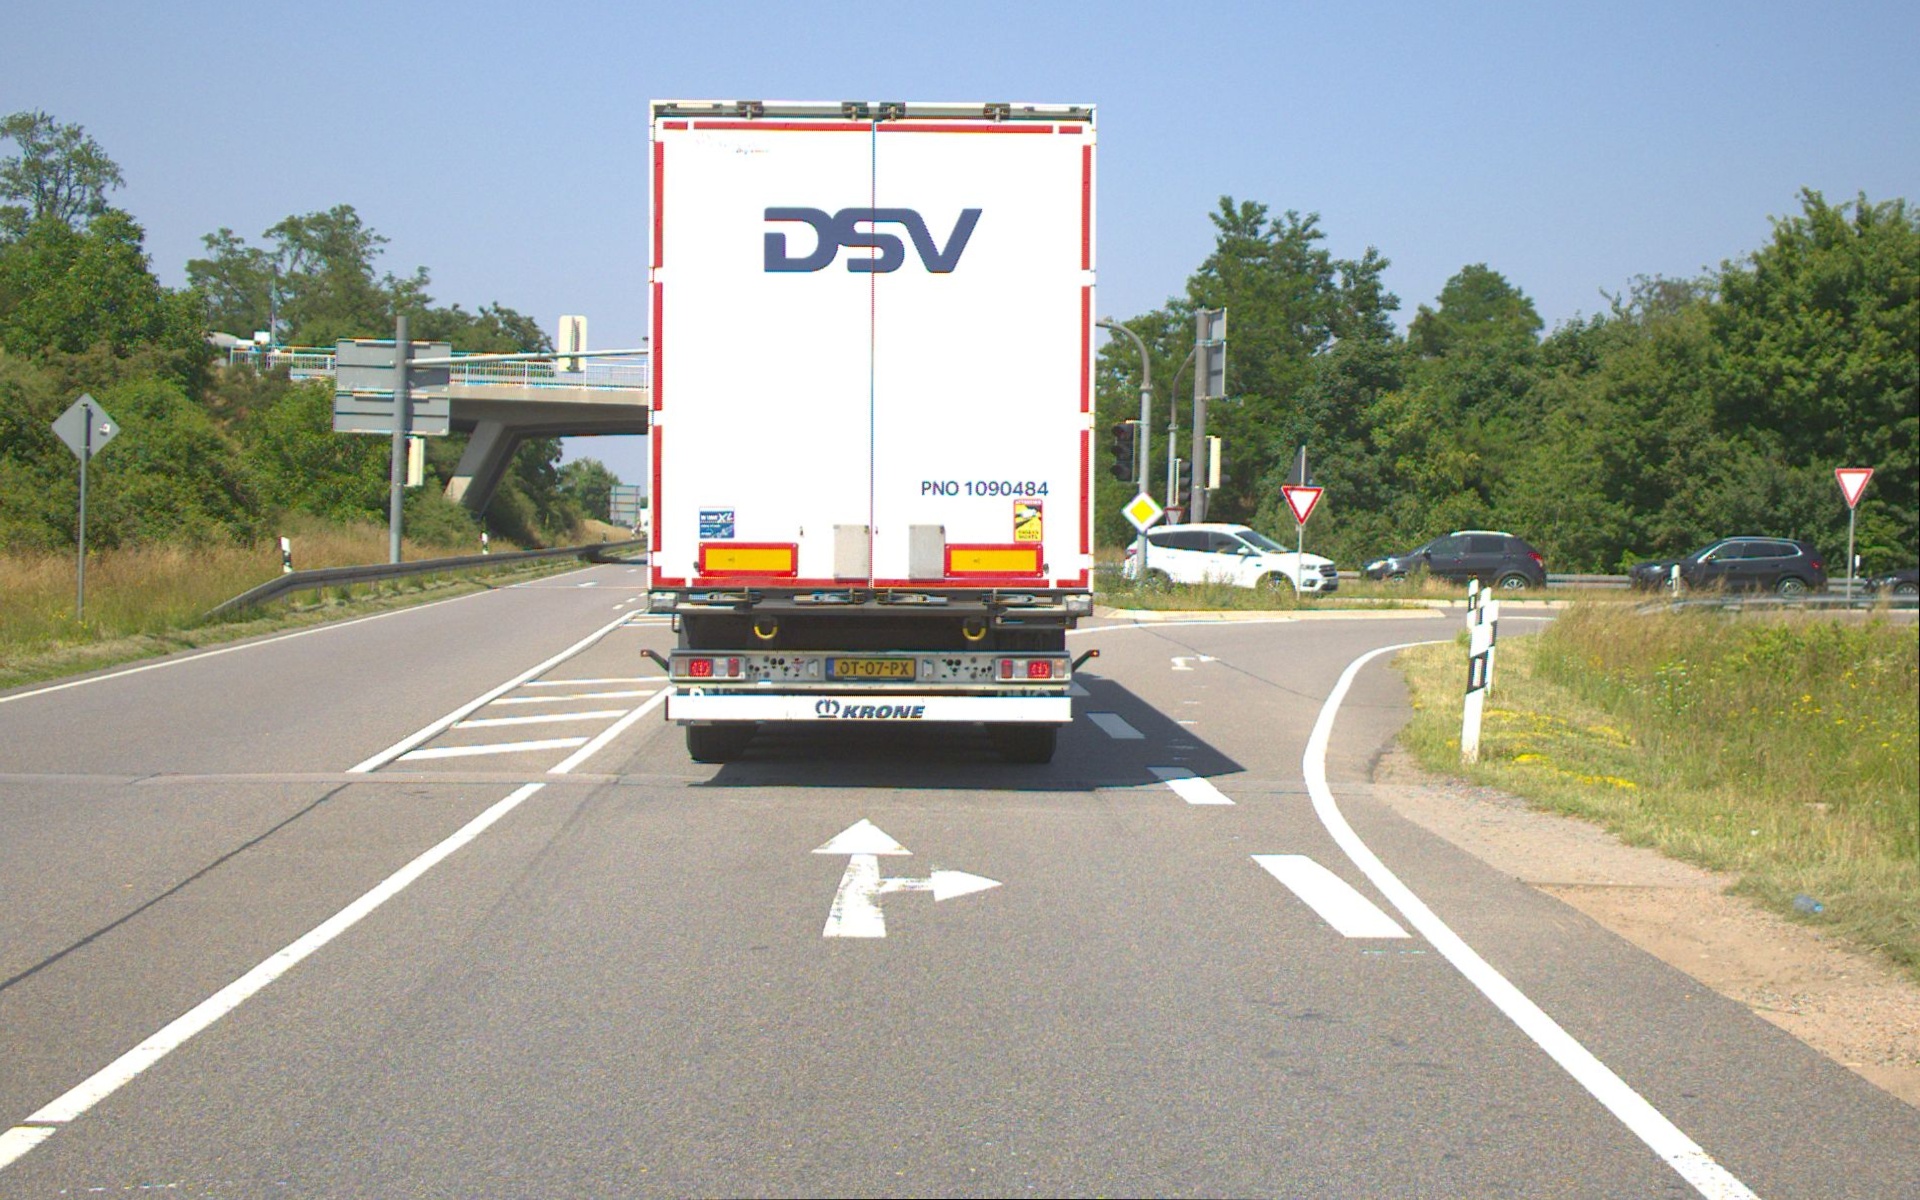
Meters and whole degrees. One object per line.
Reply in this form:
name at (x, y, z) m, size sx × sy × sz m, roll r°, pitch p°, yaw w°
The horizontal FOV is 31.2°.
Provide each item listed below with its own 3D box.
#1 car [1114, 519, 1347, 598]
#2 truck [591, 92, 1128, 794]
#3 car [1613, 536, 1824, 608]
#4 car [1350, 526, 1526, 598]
car at (5.604, -0.862, 71.187) m, size 4.474 × 1.561 × 1.737 m, roll 1°, pitch 1°, yaw 25°
truck at (-0.672, -0.962, 24.389) m, size 2.987 × 3.928 × 9.876 m, roll 1°, pitch 1°, yaw -1°
car at (17.418, -0.645, 79.086) m, size 4.486 × 1.592 × 1.767 m, roll 1°, pitch 0°, yaw 2°
car at (11.252, -0.902, 81.119) m, size 3.986 × 1.634 × 1.841 m, roll 1°, pitch 0°, yaw 5°
